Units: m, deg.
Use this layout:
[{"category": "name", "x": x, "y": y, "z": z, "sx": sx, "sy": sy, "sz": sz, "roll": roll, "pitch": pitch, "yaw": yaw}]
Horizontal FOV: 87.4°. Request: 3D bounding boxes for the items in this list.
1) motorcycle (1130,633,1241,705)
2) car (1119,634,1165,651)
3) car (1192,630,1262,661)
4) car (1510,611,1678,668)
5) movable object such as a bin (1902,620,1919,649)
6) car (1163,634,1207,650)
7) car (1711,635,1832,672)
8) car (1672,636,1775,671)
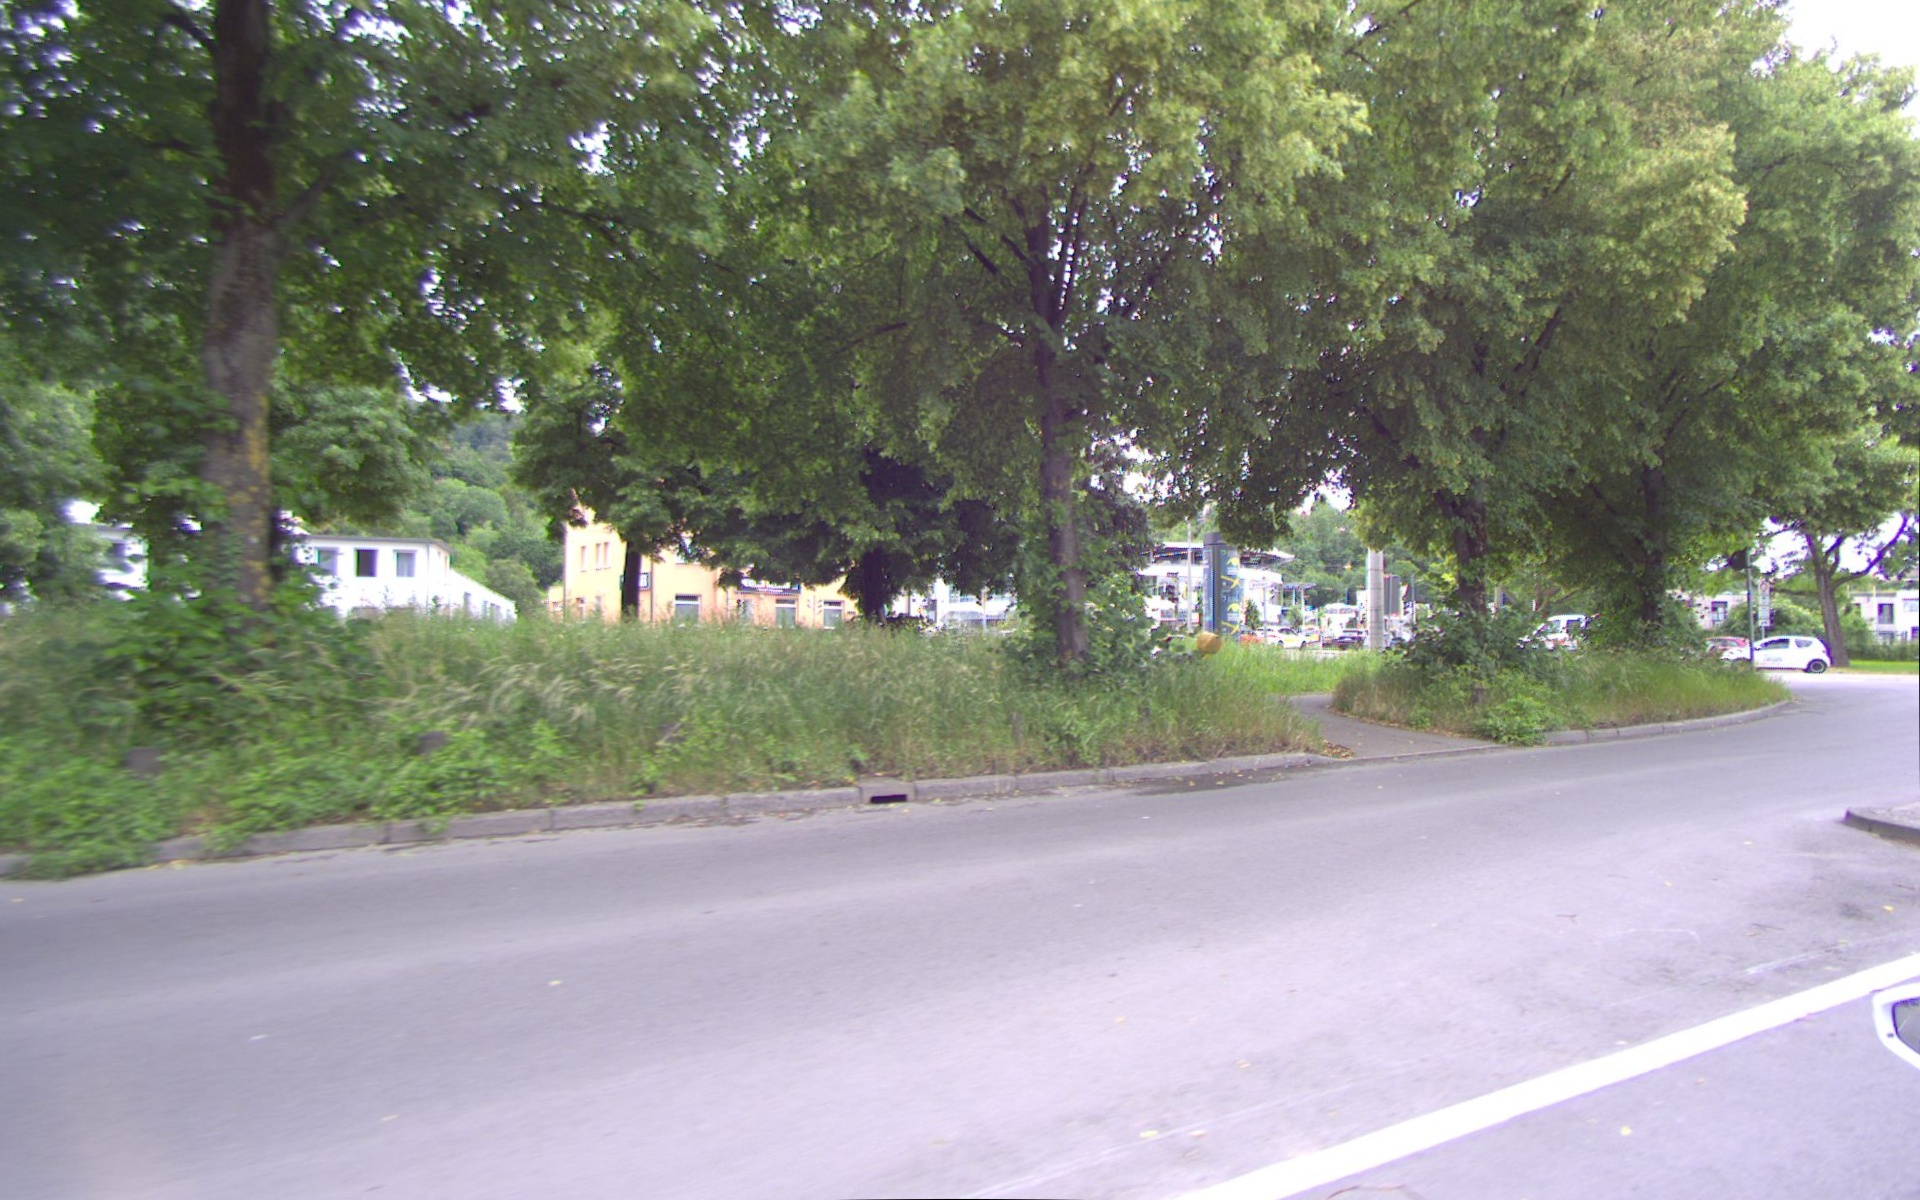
[{"category": "motorcycle", "x": 3.917, "y": 1.173, "z": 17.388, "sx": 2.010, "sy": 1.183, "sz": 0.563, "roll": 1, "pitch": -2, "yaw": -28}, {"category": "car", "x": 19.150, "y": 4.449, "z": 105.798, "sx": 4.428, "sy": 1.714, "sz": 1.994, "roll": -2, "pitch": -2, "yaw": 34}, {"category": "car", "x": 12.249, "y": 2.086, "z": 46.189, "sx": 2.822, "sy": 1.367, "sz": 1.563, "roll": 0, "pitch": -2, "yaw": 1}, {"category": "car", "x": 28.785, "y": 1.772, "z": 45.819, "sx": 2.373, "sy": 2.419, "sz": 6.027, "roll": 1, "pitch": -2, "yaw": -37}, {"category": "movable object such as a bin", "x": 68.219, "y": 2.423, "z": 70.508, "sx": 2.356, "sy": 2.040, "sz": 1.997, "roll": 0, "pitch": -2, "yaw": -10}, {"category": "car", "x": 25.145, "y": 4.672, "z": 112.181, "sx": 4.428, "sy": 1.714, "sz": 1.994, "roll": -2, "pitch": -2, "yaw": 34}, {"category": "car", "x": 32.745, "y": 2.140, "z": 40.671, "sx": 3.553, "sy": 1.428, "sz": 1.738, "roll": -1, "pitch": -2, "yaw": 31}, {"category": "car", "x": 33.709, "y": 2.327, "z": 44.411, "sx": 1.627, "sy": 1.497, "sz": 3.366, "roll": 1, "pitch": -2, "yaw": -40}]
